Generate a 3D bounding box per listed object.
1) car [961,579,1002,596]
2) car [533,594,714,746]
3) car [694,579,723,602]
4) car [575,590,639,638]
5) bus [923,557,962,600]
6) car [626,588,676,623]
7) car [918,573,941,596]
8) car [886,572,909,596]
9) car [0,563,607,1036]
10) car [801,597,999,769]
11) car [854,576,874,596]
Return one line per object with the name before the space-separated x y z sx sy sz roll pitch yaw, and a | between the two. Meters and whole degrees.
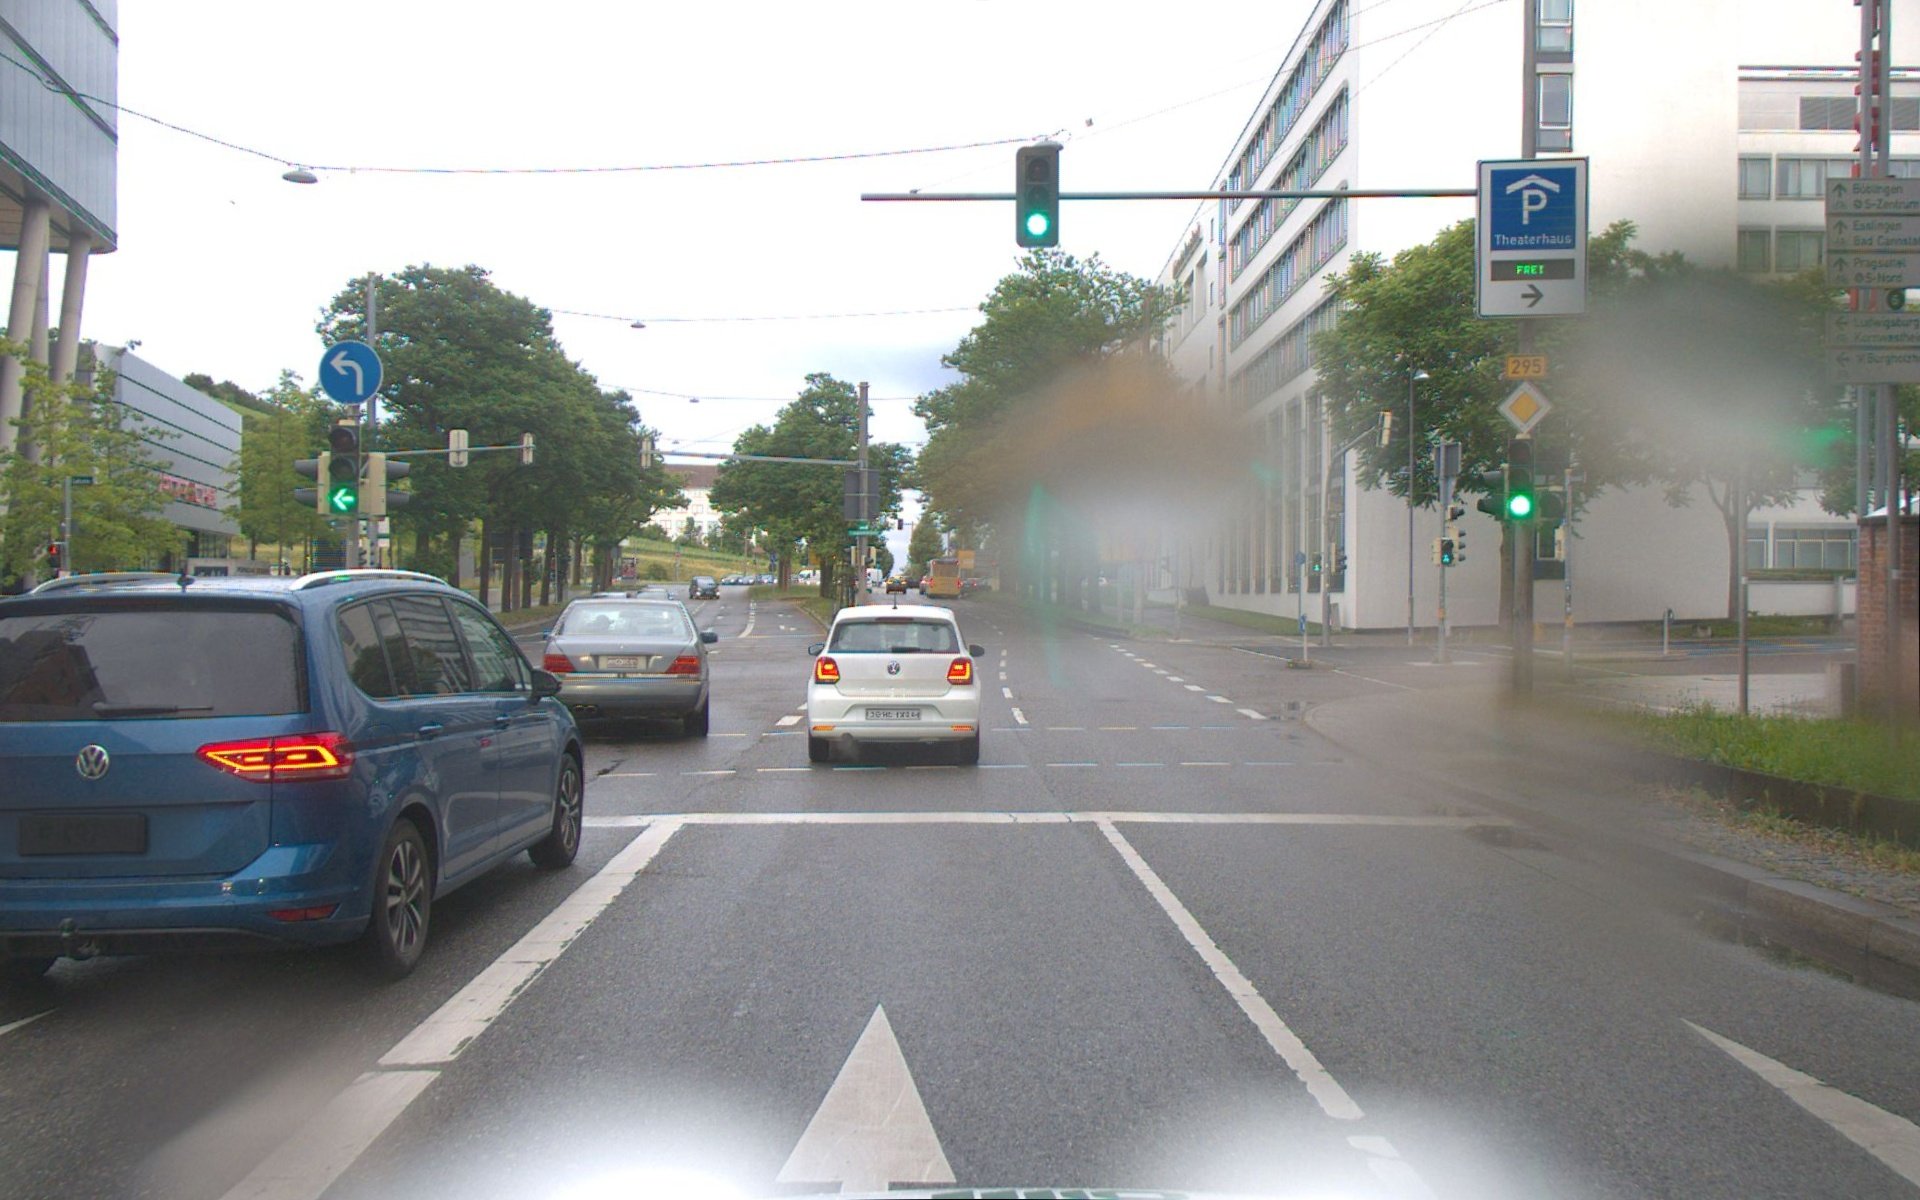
car | 1.960 -1.098 149.203 1.670 1.542 3.805 0 0 42
car | -3.854 0.719 19.051 1.814 1.537 4.037 -1 0 -11
car | -19.134 -0.748 126.031 1.955 1.644 5.113 -2 1 -7
car | -12.077 0.457 56.807 1.716 1.547 3.812 -1 1 -6
bus | -1.522 -1.802 136.831 2.772 3.323 9.995 1 1 -3
car | -13.855 0.224 74.307 1.779 1.436 4.650 -1 1 -6
car | -2.805 -1.364 150.368 1.954 2.049 3.997 0 0 -3
car | -5.661 -1.434 149.181 1.954 2.049 3.997 0 0 -3
car | -3.003 0.694 7.824 1.736 1.624 4.197 -1 0 0
car | -0.598 0.745 16.829 1.758 1.528 3.998 1 0 -2
car | -8.740 -1.300 150.688 1.759 1.772 3.997 -1 0 -4
